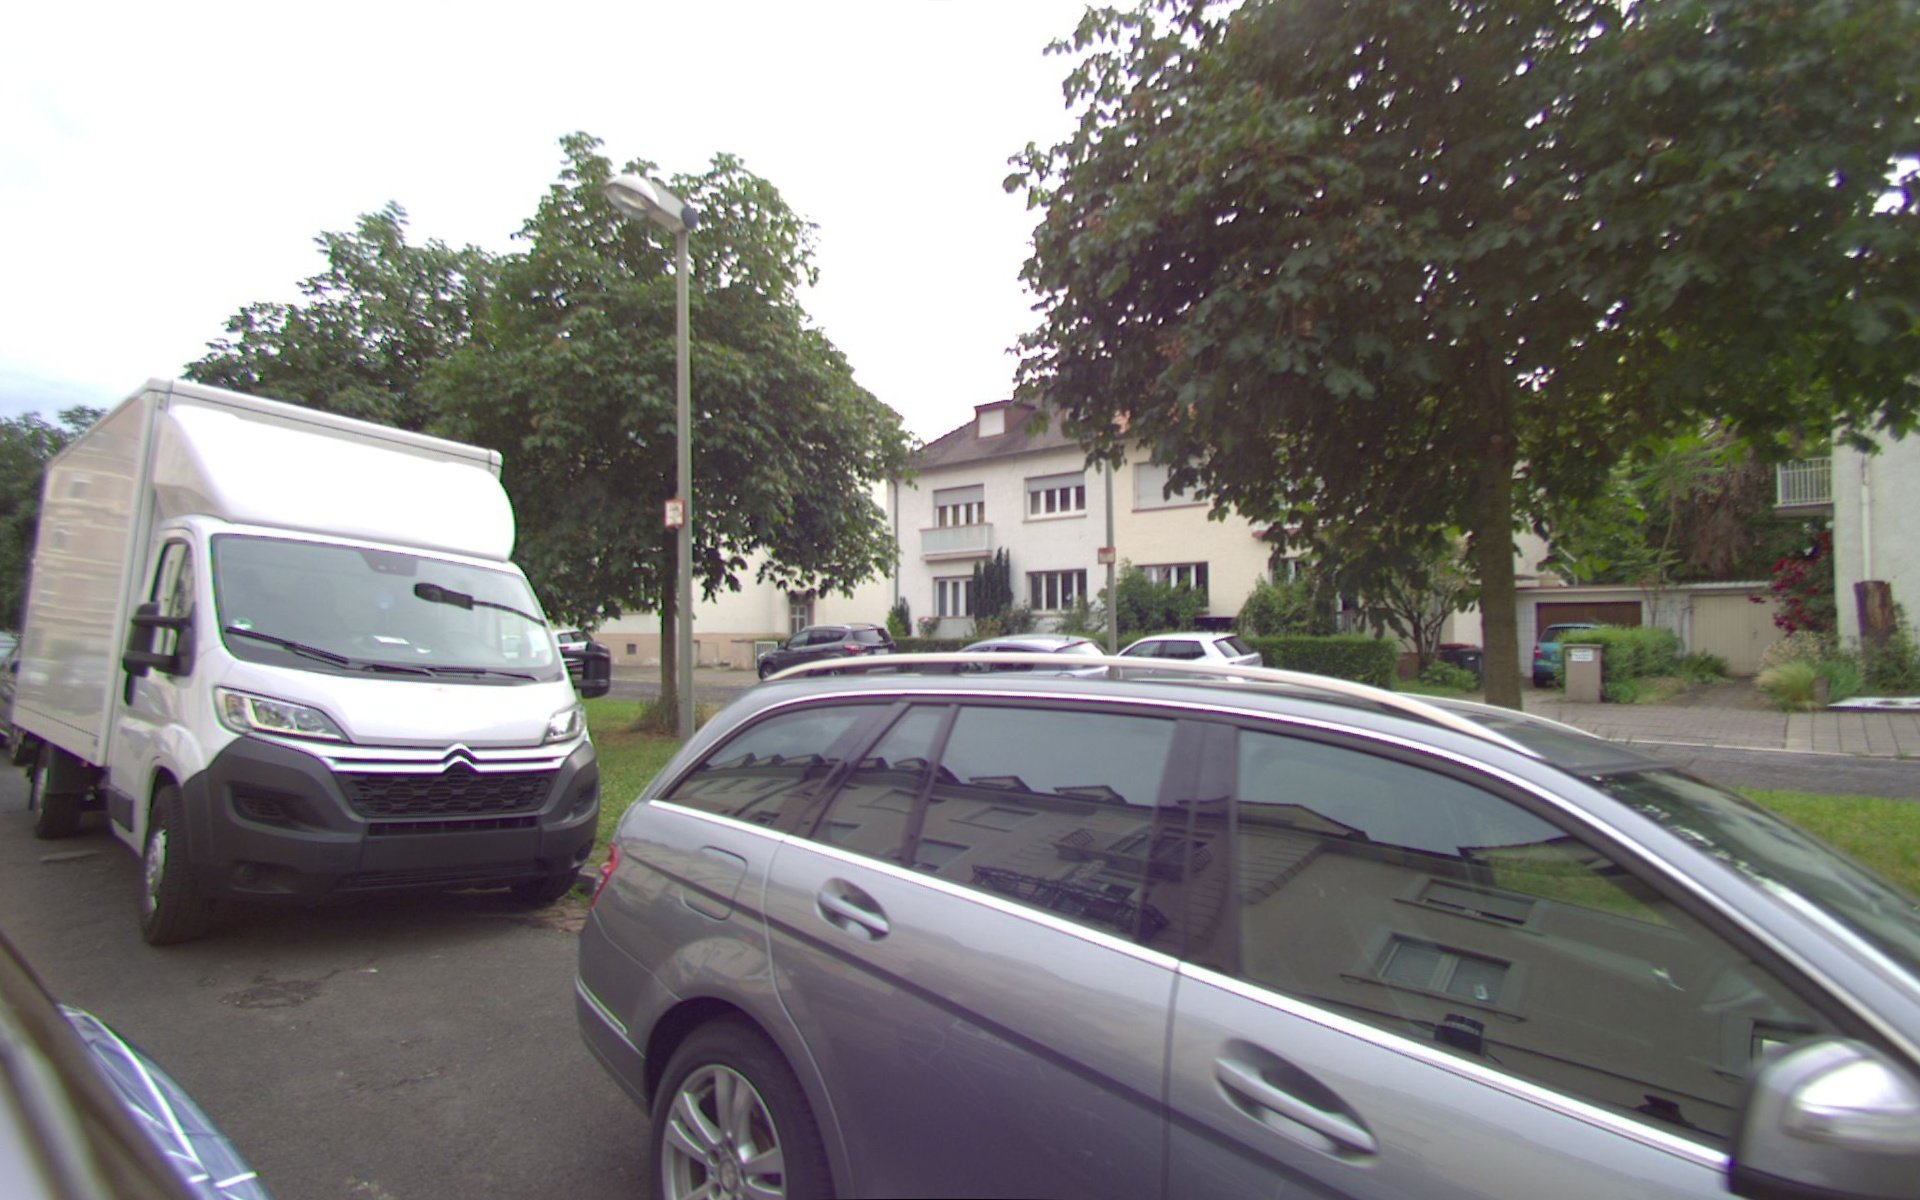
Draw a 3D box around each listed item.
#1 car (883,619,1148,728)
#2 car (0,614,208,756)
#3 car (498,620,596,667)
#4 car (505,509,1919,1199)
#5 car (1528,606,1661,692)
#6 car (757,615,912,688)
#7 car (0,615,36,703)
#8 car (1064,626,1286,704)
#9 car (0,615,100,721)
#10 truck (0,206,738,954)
[{"bbox_3d":[0.810,1.099,16.265,4.005,1.499,1.781,-2,-1,41],"label":"car"},{"bbox_3d":[-11.223,1.039,12.868,4.147,1.526,1.623,-2,-6,39],"label":"car"},{"bbox_3d":[-15.292,1.574,37.390,4.005,1.619,1.781,-2,-1,41],"label":"car"},{"bbox_3d":[1.038,0.742,1.905,4.446,1.469,1.693,-2,-7,41],"label":"car"},{"bbox_3d":[15.096,1.099,23.999,1.999,1.741,3.945,-2,0,42],"label":"car"},{"bbox_3d":[-3.412,1.336,27.018,4.099,1.686,1.781,-2,1,41],"label":"car"},{"bbox_3d":[-20.886,1.188,21.049,4.311,1.721,1.762,-2,-6,39],"label":"car"},{"bbox_3d":[4.195,1.233,20.085,3.940,1.365,1.781,-2,-1,41],"label":"car"},{"bbox_3d":[-15.221,1.043,16.092,4.147,1.526,1.623,-2,-3,39],"label":"car"},{"bbox_3d":[-4.816,0.106,7.260,7.109,2.980,2.412,-2,-8,41],"label":"truck"}]
